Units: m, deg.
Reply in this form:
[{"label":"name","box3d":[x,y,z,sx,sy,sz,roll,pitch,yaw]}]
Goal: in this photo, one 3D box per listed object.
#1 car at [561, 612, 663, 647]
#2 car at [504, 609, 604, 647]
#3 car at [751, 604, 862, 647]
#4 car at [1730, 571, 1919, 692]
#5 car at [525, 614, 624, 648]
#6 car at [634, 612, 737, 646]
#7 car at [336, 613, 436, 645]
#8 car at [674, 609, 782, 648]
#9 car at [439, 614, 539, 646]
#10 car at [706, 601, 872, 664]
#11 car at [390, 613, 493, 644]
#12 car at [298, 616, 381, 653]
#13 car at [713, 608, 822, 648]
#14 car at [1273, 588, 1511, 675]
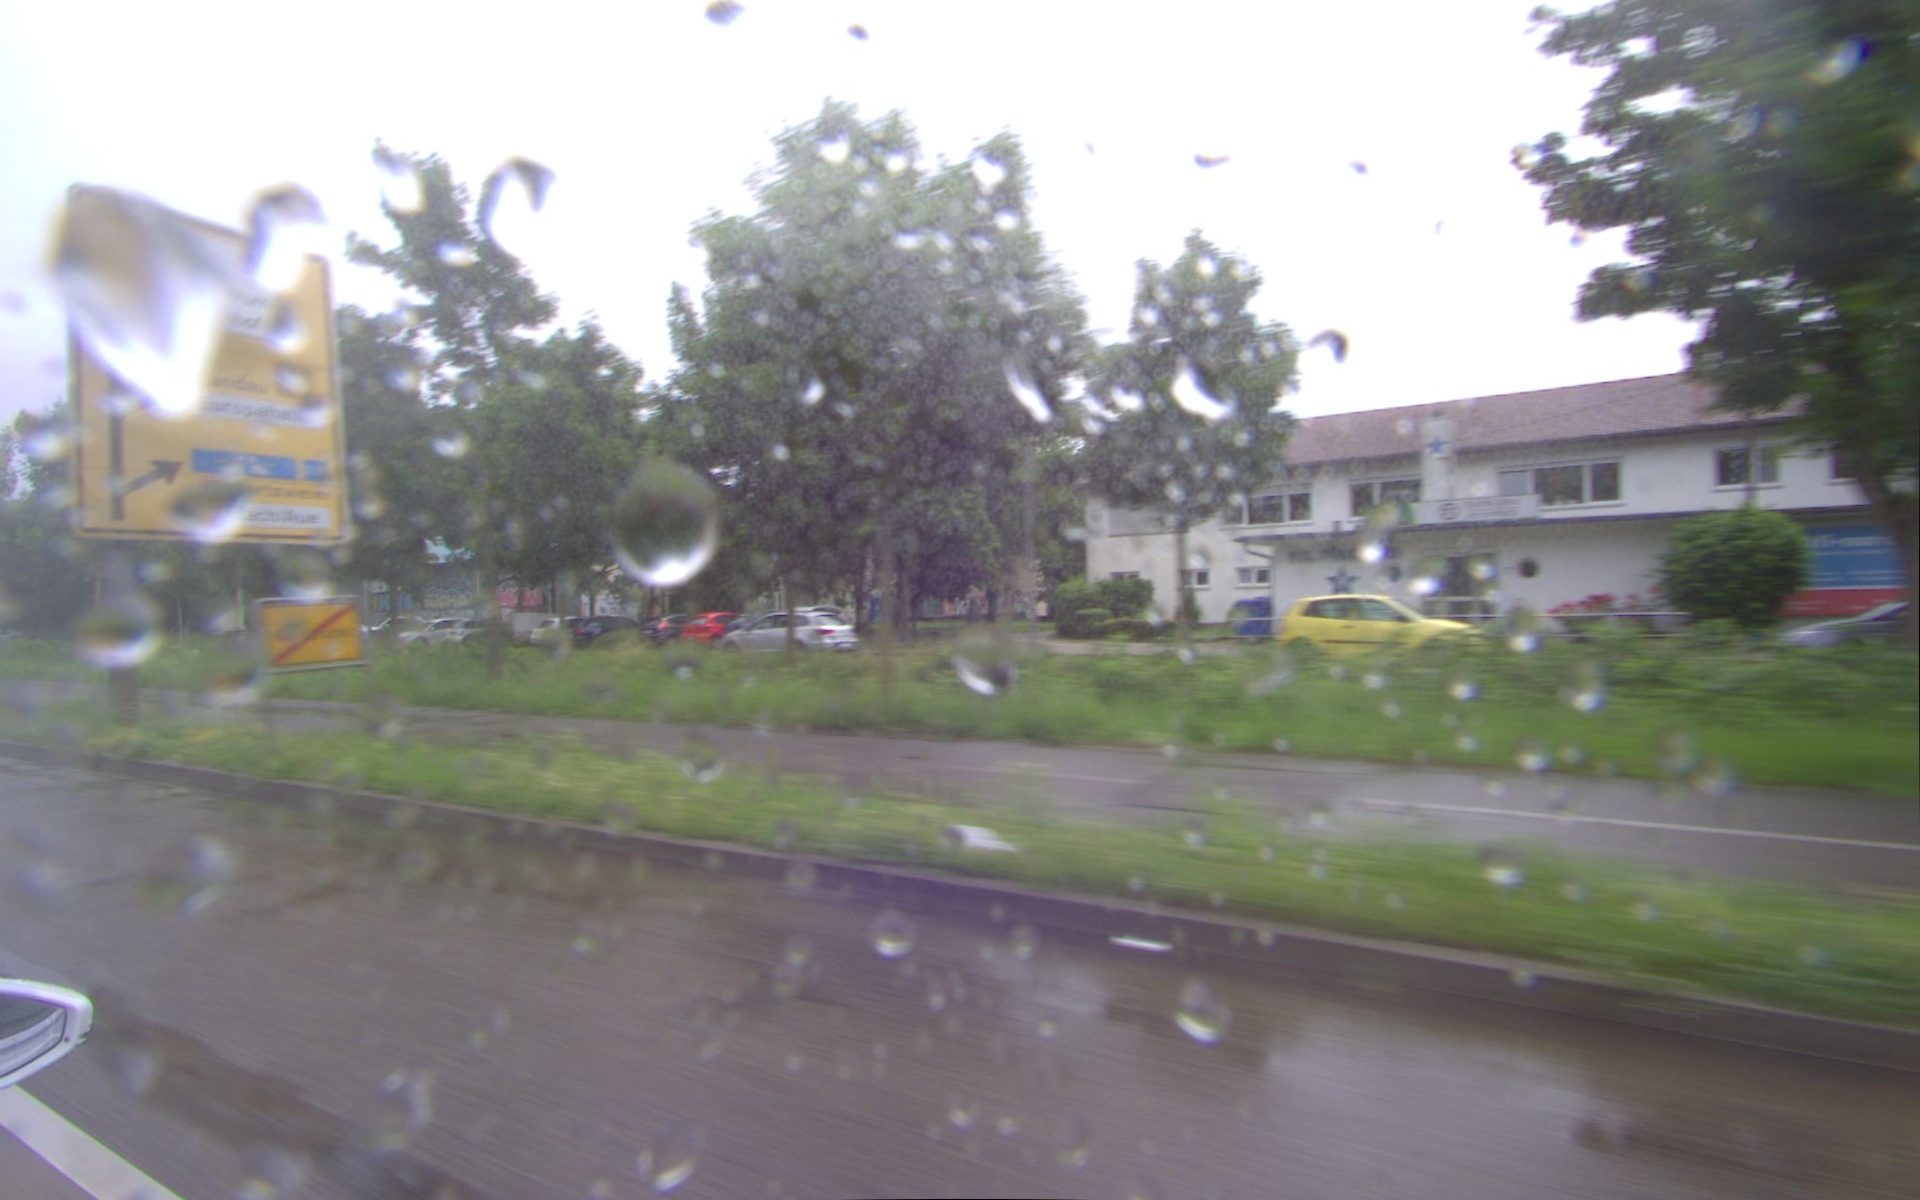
[{"label":"car","box3d":[-15.614,1.346,45.090,1.765,1.478,4.123,-2,-2,33]},{"label":"car","box3d":[-19.973,1.401,49.456,1.917,1.746,4.329,-2,-2,30]},{"label":"car","box3d":[-5.780,1.001,38.221,1.896,1.522,4.329,-2,-2,30]},{"label":"car","box3d":[14.579,0.429,15.032,4.576,1.740,1.989,-2,0,32]},{"label":"car","box3d":[-17.993,1.467,46.899,1.735,1.502,4.184,-2,-2,30]},{"label":"car","box3d":[-11.597,1.261,42.553,1.840,1.357,4.174,-2,-2,30]},{"label":"car","box3d":[-32.501,1.689,56.850,1.970,1.727,4.565,-2,-2,30]},{"label":"car","box3d":[-9.524,1.196,41.364,1.917,1.502,4.329,-2,-2,30]},{"label":"car","box3d":[-24.109,1.563,51.396,1.917,1.577,4.329,-2,-2,30]},{"label":"car","box3d":[-4.936,0.935,28.701,4.579,1.647,1.988,-2,0,34]},{"label":"car","box3d":[-27.747,1.523,53.669,1.921,1.577,4.555,-2,-3,37]},{"label":"car","box3d":[-27.580,1.482,44.473,4.067,1.465,1.738,1,1,37]},{"label":"car","box3d":[-7.643,1.130,40.098,1.917,1.502,4.329,-2,-2,30]},{"label":"car","box3d":[8.253,0.629,19.240,4.015,1.505,1.635,-2,-2,32]}]
